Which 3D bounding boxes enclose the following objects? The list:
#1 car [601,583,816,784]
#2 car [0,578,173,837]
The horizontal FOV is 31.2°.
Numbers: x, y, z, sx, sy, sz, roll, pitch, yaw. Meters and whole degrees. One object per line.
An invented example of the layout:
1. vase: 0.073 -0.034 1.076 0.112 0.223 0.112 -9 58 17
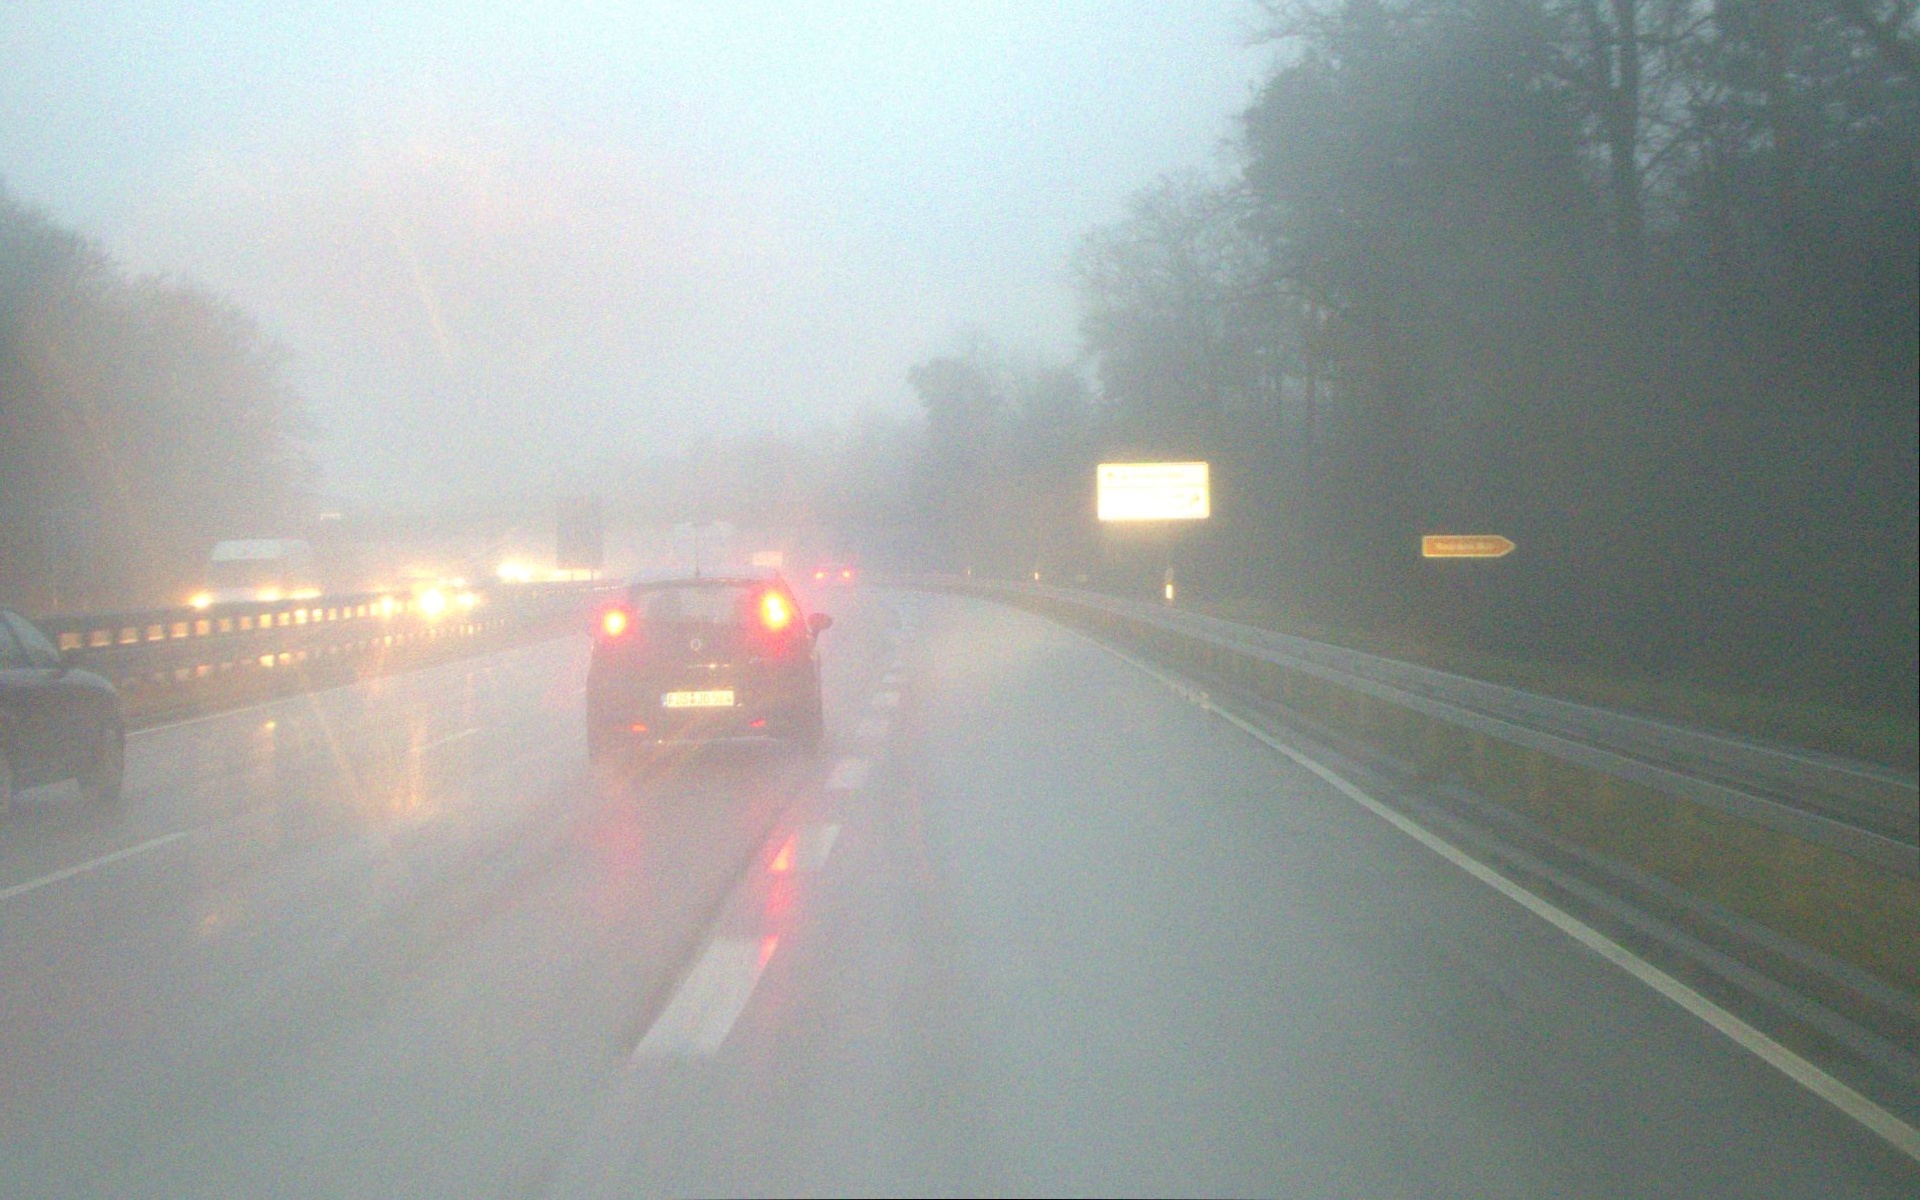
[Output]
1. car: -1.915 0.602 26.919 1.527 1.411 3.479 1 1 -2
2. car: -6.631 0.680 22.362 1.776 1.529 4.703 -3 1 1
